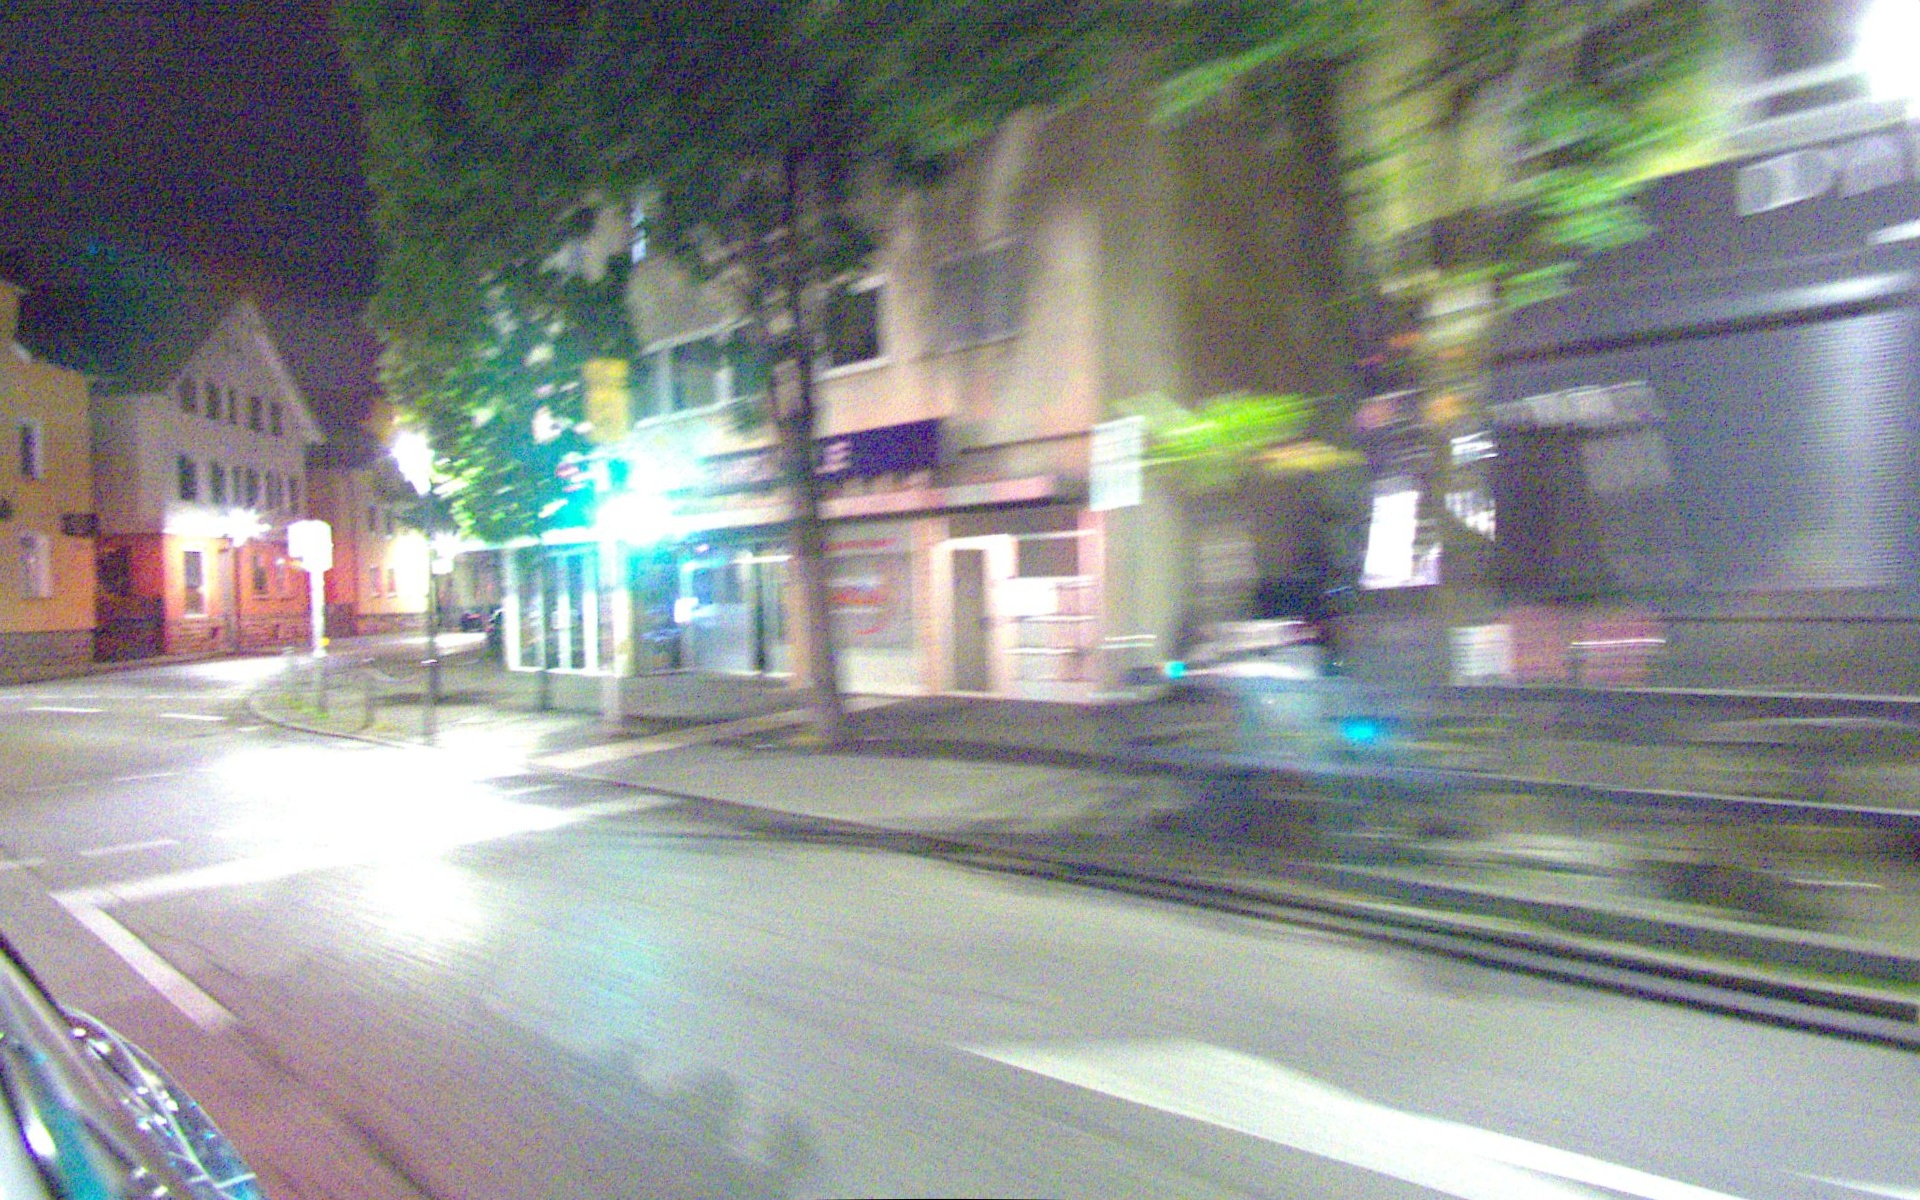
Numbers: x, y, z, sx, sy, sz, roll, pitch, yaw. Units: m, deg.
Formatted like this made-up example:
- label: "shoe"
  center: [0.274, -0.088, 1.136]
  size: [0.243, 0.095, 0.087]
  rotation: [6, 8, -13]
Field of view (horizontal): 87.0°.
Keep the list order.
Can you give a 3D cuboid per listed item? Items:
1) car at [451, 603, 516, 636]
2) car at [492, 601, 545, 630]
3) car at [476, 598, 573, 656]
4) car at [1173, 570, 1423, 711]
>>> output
- label: "car"
  center: [-24.389, 0.954, 51.942]
  size: [1.708, 1.530, 4.005]
  rotation: [-2, 0, -6]
- label: "car"
  center: [-26.259, 0.899, 60.309]
  size: [1.685, 1.530, 4.005]
  rotation: [-2, 0, -6]
- label: "car"
  center: [-14.512, 0.837, 33.965]
  size: [1.899, 1.763, 4.184]
  rotation: [-2, 0, -8]
- label: "car"
  center: [4.526, 0.420, 13.199]
  size: [1.818, 1.538, 3.948]
  rotation: [-2, 0, 39]
